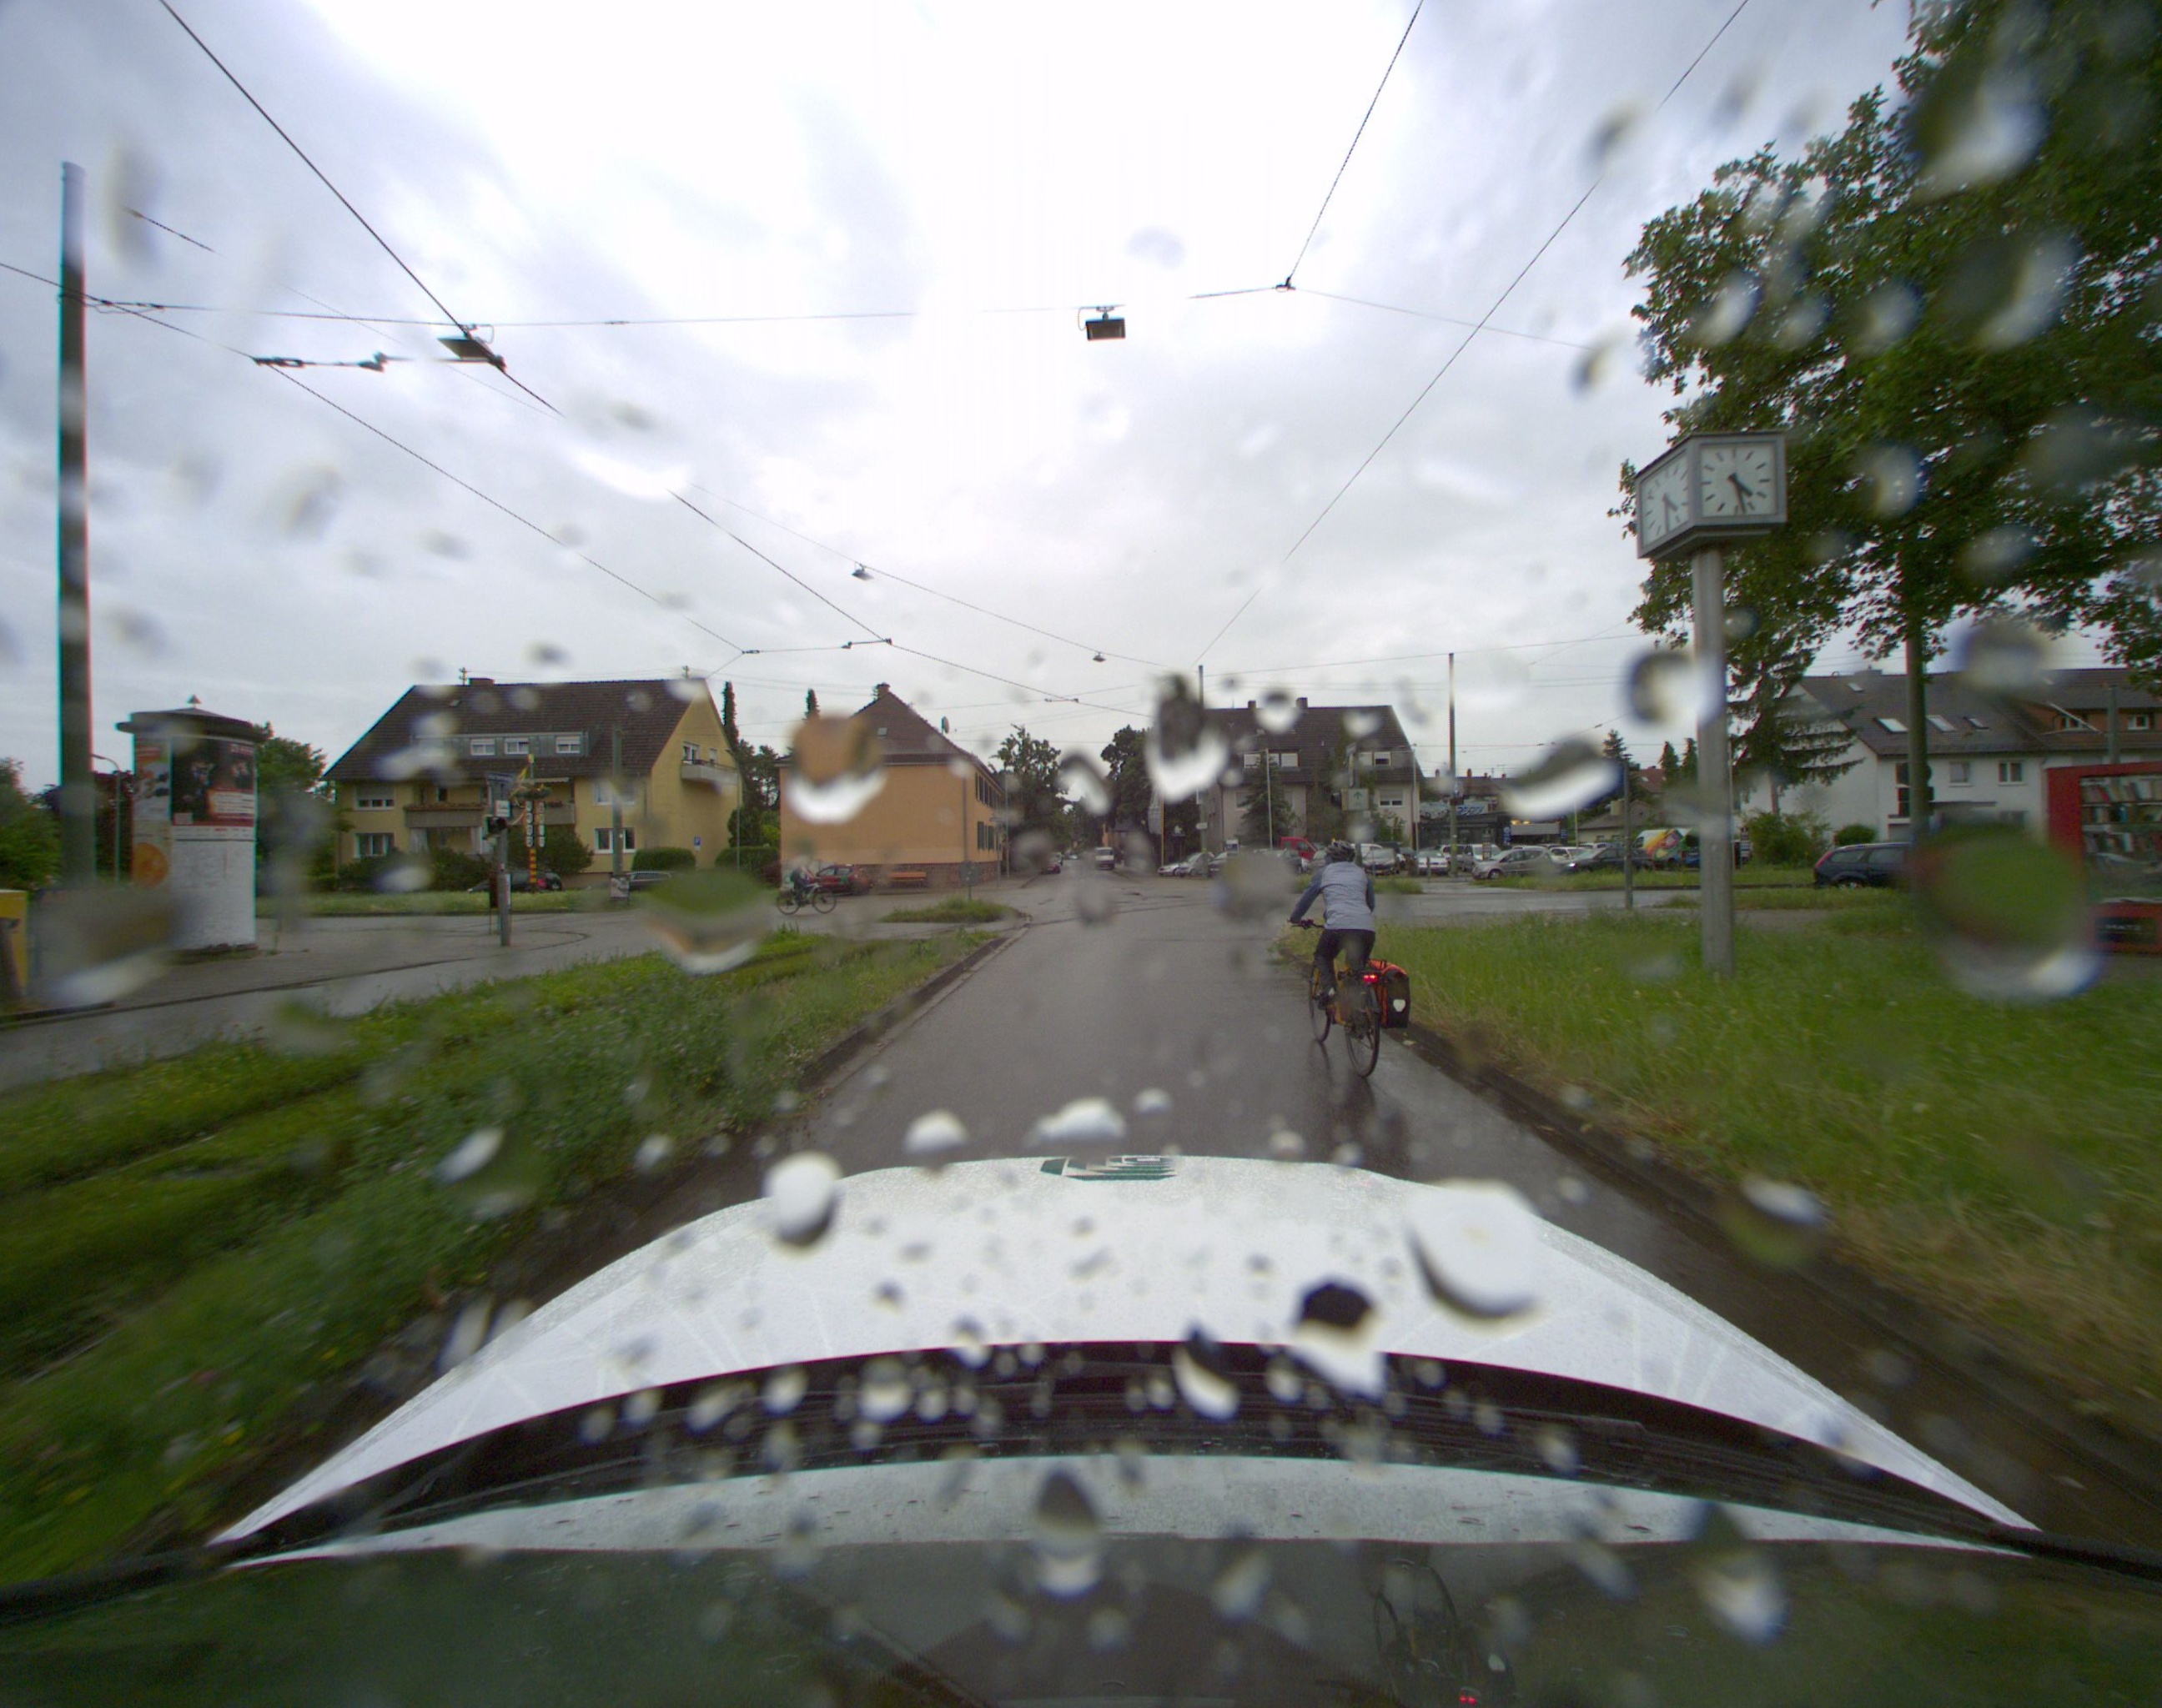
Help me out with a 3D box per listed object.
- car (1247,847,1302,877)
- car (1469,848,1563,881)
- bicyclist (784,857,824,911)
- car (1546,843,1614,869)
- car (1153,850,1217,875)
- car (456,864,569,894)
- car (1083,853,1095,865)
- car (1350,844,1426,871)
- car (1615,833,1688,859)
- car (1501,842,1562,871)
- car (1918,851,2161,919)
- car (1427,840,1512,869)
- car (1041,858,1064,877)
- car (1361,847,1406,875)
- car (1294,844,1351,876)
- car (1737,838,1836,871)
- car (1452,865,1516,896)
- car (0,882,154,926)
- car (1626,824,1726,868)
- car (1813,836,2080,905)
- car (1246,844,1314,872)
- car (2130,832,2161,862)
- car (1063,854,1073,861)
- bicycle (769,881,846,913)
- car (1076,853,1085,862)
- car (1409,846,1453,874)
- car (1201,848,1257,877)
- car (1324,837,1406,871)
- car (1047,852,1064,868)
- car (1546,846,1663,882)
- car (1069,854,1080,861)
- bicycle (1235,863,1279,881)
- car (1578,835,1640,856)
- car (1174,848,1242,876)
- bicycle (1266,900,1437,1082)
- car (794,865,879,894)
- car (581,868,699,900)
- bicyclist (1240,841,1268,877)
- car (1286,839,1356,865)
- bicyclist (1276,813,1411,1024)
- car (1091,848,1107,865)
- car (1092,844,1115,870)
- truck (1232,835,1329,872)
[{"bbox_3d":[11.125,0.444,46.738,1.784,1.578,3.897,-2,0,33],"label":"car"},{"bbox_3d":[21.017,0.497,39.430,3.621,1.504,1.722,1,0,-1],"label":"car"},{"bbox_3d":[-8.153,0.867,23.989,0.908,1.558,0.833,0,-1,-2],"label":"bicyclist"},{"bbox_3d":[28.201,0.117,46.167,1.709,1.396,3.847,1,0,4],"label":"car"},{"bbox_3d":[7.036,0.580,55.132,3.871,1.578,1.796,-2,0,-19],"label":"car"},{"bbox_3d":[-26.687,1.159,38.319,3.977,1.332,1.758,1,0,-3],"label":"car"},{"bbox_3d":[1.382,0.833,140.939,1.823,2.013,3.998,1,0,-1],"label":"car"},{"bbox_3d":[20.824,0.231,55.329,4.414,1.687,2.001,-1,-1,3],"label":"car"},{"bbox_3d":[38.165,-0.544,54.457,4.401,1.580,1.852,-1,-1,-21],"label":"car"},{"bbox_3d":[25.694,0.148,46.545,1.709,1.573,3.621,1,0,5],"label":"car"},{"bbox_3d":[23.917,0.704,19.889,1.807,1.476,4.512,-1,0,-25],"label":"car"},{"bbox_3d":[24.016,0.038,50.468,4.414,1.687,1.762,-1,-1,3],"label":"car"},{"bbox_3d":[-2.481,1.171,71.726,1.988,1.618,3.998,-1,-1,-1],"label":"car"},{"bbox_3d":[17.257,0.376,46.327,1.810,1.504,4.083,1,0,29],"label":"car"},{"bbox_3d":[13.774,0.318,46.290,1.974,1.717,4.026,-2,-1,33],"label":"car"},{"bbox_3d":[40.052,0.011,46.298,3.869,1.565,2.000,-4,0,0],"label":"car"},{"bbox_3d":[22.868,1.478,46.370,1.794,1.578,3.874,-2,0,3],"label":"car"},{"bbox_3d":[-38.218,1.863,30.786,3.975,1.476,1.999,-1,0,-1],"label":"car"},{"bbox_3d":[34.609,-0.438,47.593,2.137,2.406,5.149,1,0,1],"label":"car"},{"bbox_3d":[20.917,0.372,19.891,1.809,1.476,4.138,-1,0,-29],"label":"car"},{"bbox_3d":[12.656,0.264,51.787,3.932,1.598,2.010,-2,-1,21],"label":"car"},{"bbox_3d":[53.170,-0.294,38.960,3.917,1.423,1.606,1,0,1],"label":"car"},{"bbox_3d":[-3.355,0.890,210.113,1.832,1.697,4.010,1,0,-16],"label":"car"},{"bbox_3d":[-8.034,1.257,23.972,1.974,0.912,0.823,0,-1,-2],"label":"bicycle"},{"bbox_3d":[-0.087,0.895,186.361,1.823,2.013,3.998,1,0,-1],"label":"car"},{"bbox_3d":[19.723,0.346,46.014,1.813,1.504,4.076,1,0,17],"label":"car"},{"bbox_3d":[8.814,0.462,48.260,1.784,1.578,3.897,-2,0,33],"label":"car"},{"bbox_3d":[17.664,0.017,50.811,4.414,2.014,2.001,-1,-1,3],"label":"car"},{"bbox_3d":[-3.337,0.736,106.136,1.987,2.013,4.000,1,0,1],"label":"car"},{"bbox_3d":[23.341,0.423,36.438,3.975,1.476,1.999,-1,0,-1],"label":"car"},{"bbox_3d":[-1.681,0.905,204.669,1.832,1.697,4.010,1,0,-16],"label":"car"},{"bbox_3d":[8.167,0.832,37.863,1.808,0.786,0.942,-2,0,-1],"label":"bicycle"},{"bbox_3d":[40.940,-0.656,63.130,4.450,1.580,1.781,-1,-1,-22],"label":"car"},{"bbox_3d":[8.050,0.504,51.810,3.871,1.578,1.796,-2,0,-19],"label":"car"},{"bbox_3d":[2.012,0.965,6.365,0.749,1.073,1.928,-2,0,3],"label":"bicycle"},{"bbox_3d":[-11.750,1.214,39.313,3.595,1.339,1.722,1,0,-2],"label":"car"},{"bbox_3d":[-20.868,1.417,38.641,4.478,1.396,1.966,-1,0,-2],"label":"car"},{"bbox_3d":[8.033,0.240,37.860,1.036,1.598,0.949,-2,0,-1],"label":"bicyclist"},{"bbox_3d":[16.998,-0.107,57.882,4.414,1.687,2.001,-1,-1,3],"label":"car"},{"bbox_3d":[1.990,0.467,6.288,0.748,1.485,0.847,-2,-1,3],"label":"bicyclist"},{"bbox_3d":[2.205,0.345,101.076,1.987,2.013,4.000,1,0,1],"label":"car"},{"bbox_3d":[2.303,0.329,83.867,2.147,2.572,4.131,1,0,-1],"label":"car"},{"bbox_3d":[13.436,-0.004,54.898,6.031,2.272,2.010,-2,-1,20],"label":"truck"}]
